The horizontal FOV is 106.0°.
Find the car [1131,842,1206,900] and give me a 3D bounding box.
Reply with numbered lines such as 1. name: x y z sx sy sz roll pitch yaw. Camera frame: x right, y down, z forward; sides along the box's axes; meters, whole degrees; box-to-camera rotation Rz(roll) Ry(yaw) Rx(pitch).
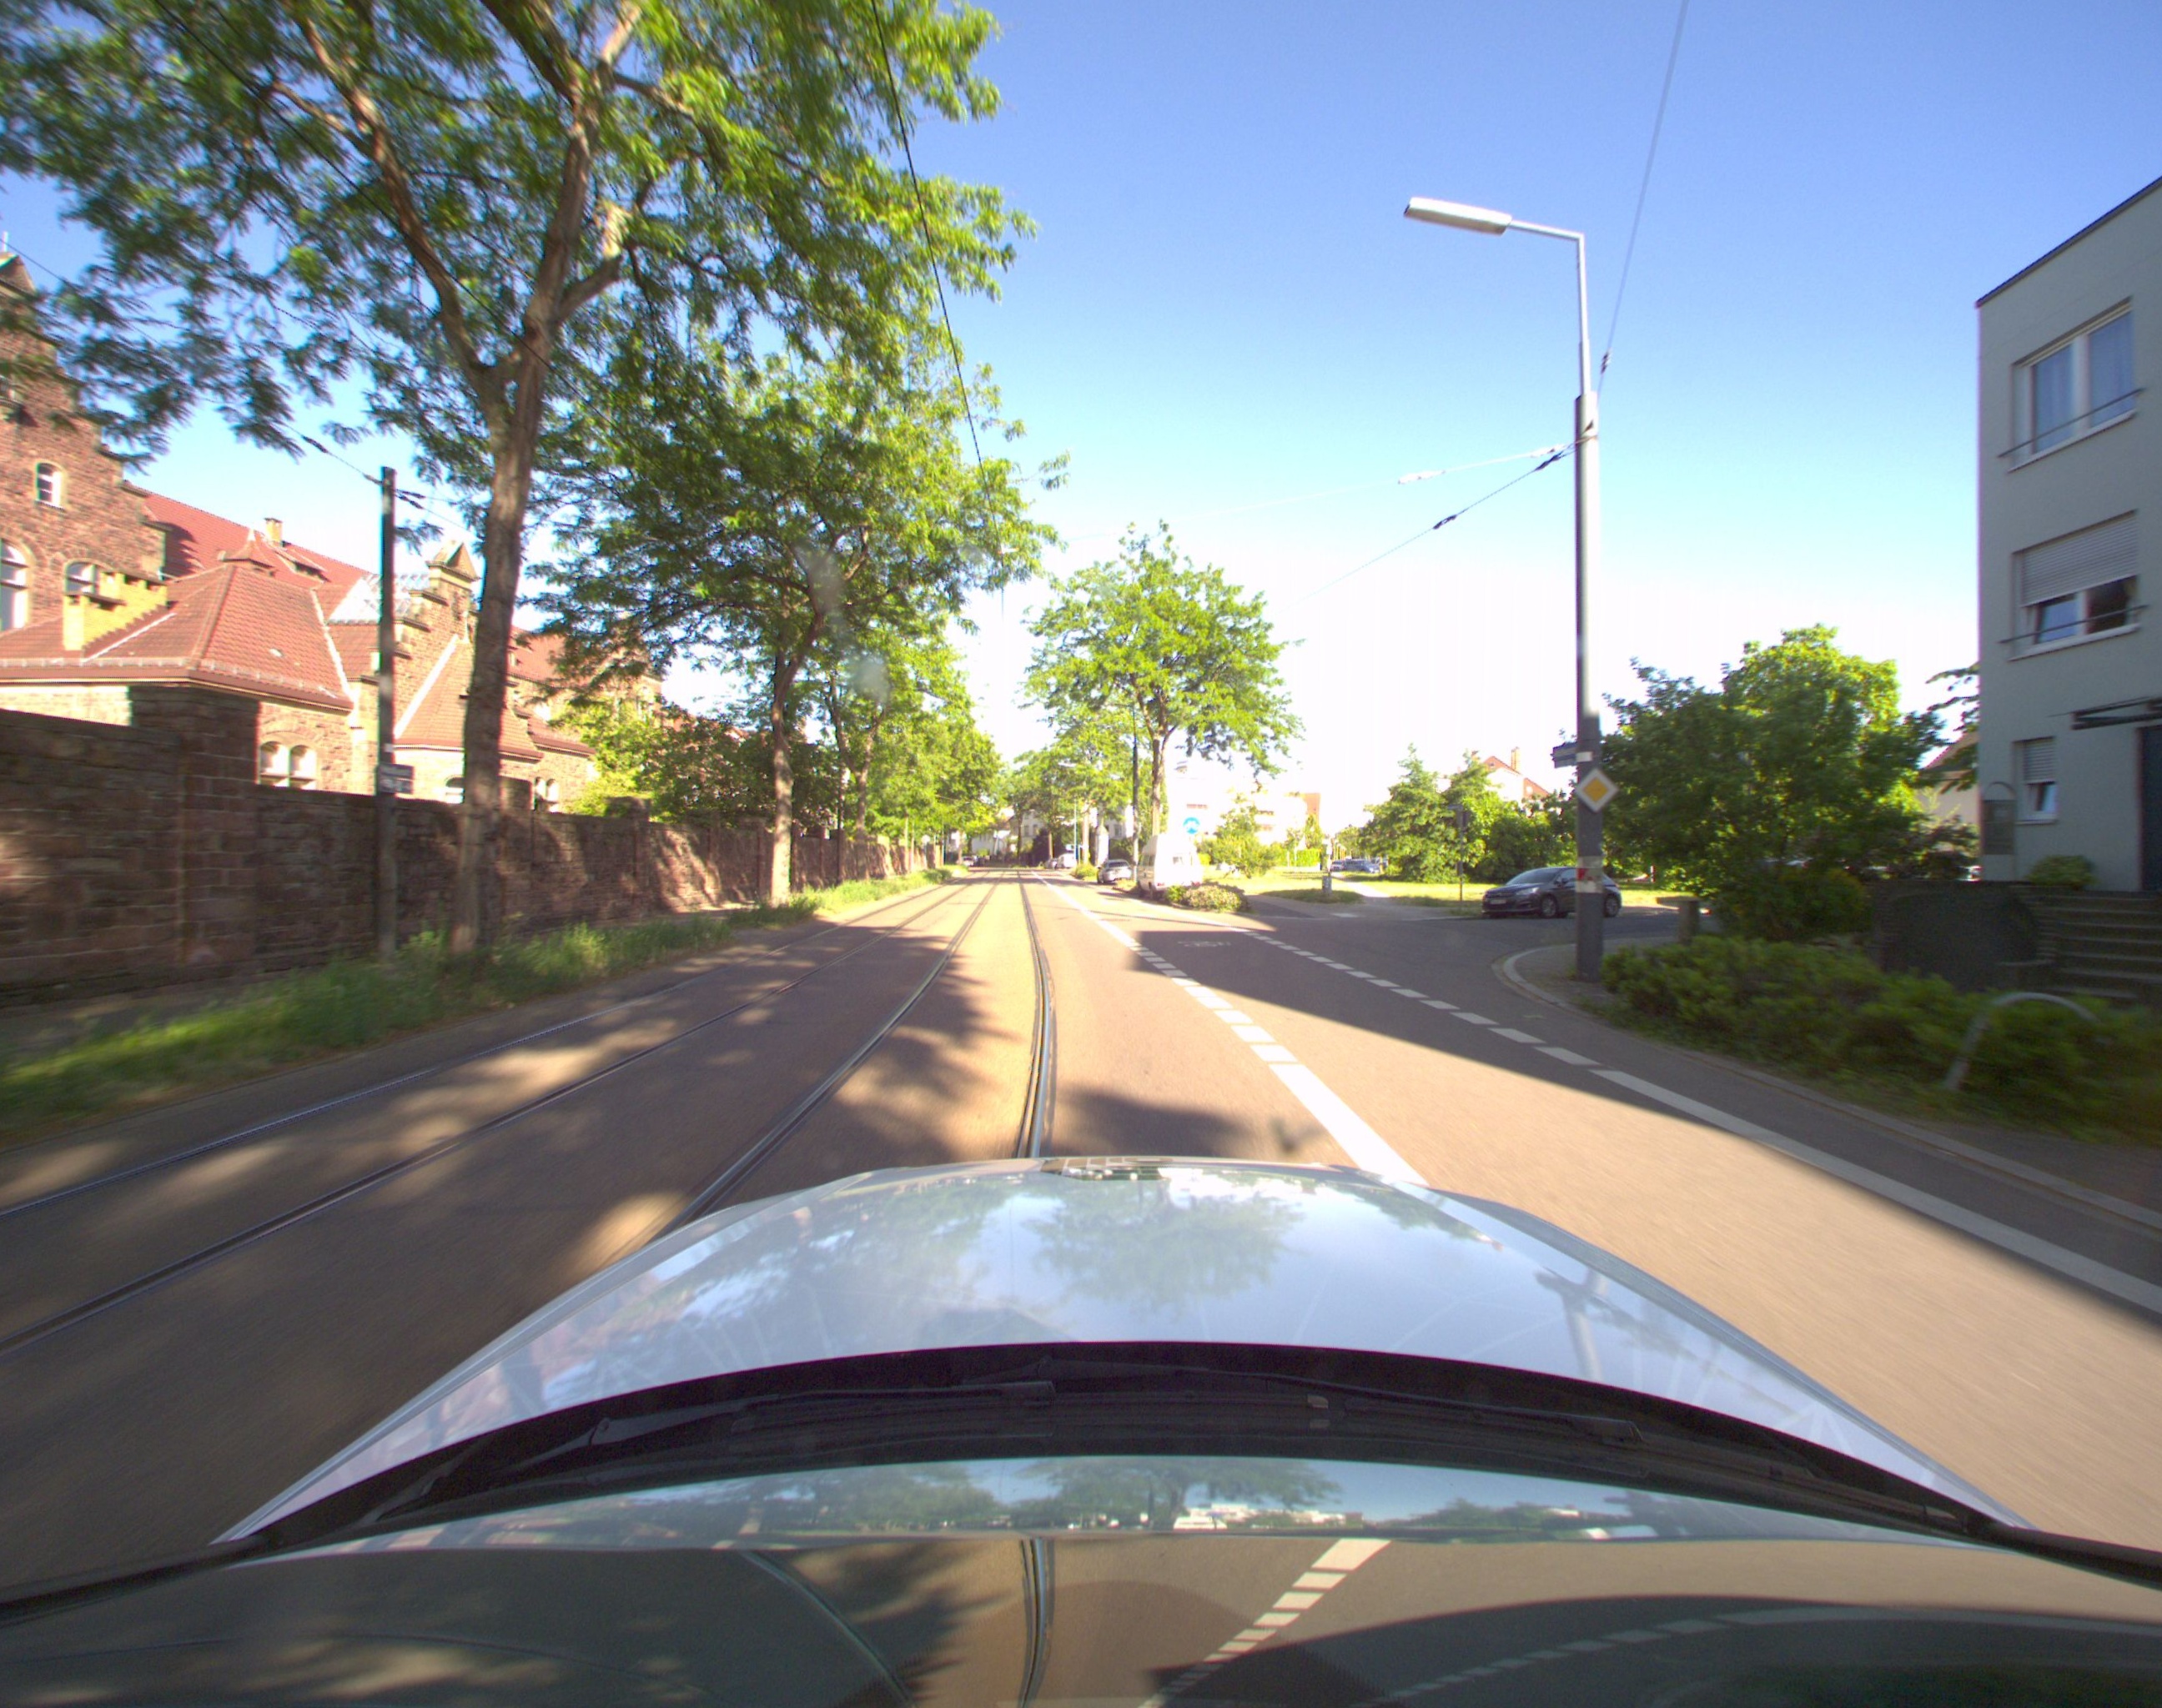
1. car: 3.343 0.610 32.065 1.991 2.095 4.706 0 0 -6

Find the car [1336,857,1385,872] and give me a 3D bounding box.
1. car: 28.309 1.095 82.604 2.067 1.471 4.718 0 -1 -24

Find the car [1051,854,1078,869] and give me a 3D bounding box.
1. car: -2.059 0.882 100.436 2.029 1.747 4.719 0 0 -20

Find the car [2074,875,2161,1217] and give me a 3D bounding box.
1. car: 5.462 0.834 1.599 1.730 1.495 4.535 0 -1 5

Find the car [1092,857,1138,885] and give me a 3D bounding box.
1. car: 2.028 1.020 50.311 1.998 1.465 5.421 -3 0 -6

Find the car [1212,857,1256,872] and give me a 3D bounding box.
1. car: 16.659 1.135 88.740 4.290 1.511 1.829 0 -3 -17

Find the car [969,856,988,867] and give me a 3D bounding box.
1. car: -17.264 1.320 137.000 1.813 1.694 4.691 -3 1 -24

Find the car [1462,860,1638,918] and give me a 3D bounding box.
1. car: 13.281 0.995 23.073 4.467 1.490 1.993 0 -4 -23

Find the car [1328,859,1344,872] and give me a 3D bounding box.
1. car: 34.828 1.537 111.143 2.029 1.708 4.308 0 -1 18

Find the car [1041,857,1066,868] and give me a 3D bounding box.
1. car: -3.645 1.125 106.194 2.001 1.423 4.302 0 -1 -21

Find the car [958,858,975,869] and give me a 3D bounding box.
1. car: -18.073 1.525 128.364 1.898 1.611 4.201 0 -2 -19
